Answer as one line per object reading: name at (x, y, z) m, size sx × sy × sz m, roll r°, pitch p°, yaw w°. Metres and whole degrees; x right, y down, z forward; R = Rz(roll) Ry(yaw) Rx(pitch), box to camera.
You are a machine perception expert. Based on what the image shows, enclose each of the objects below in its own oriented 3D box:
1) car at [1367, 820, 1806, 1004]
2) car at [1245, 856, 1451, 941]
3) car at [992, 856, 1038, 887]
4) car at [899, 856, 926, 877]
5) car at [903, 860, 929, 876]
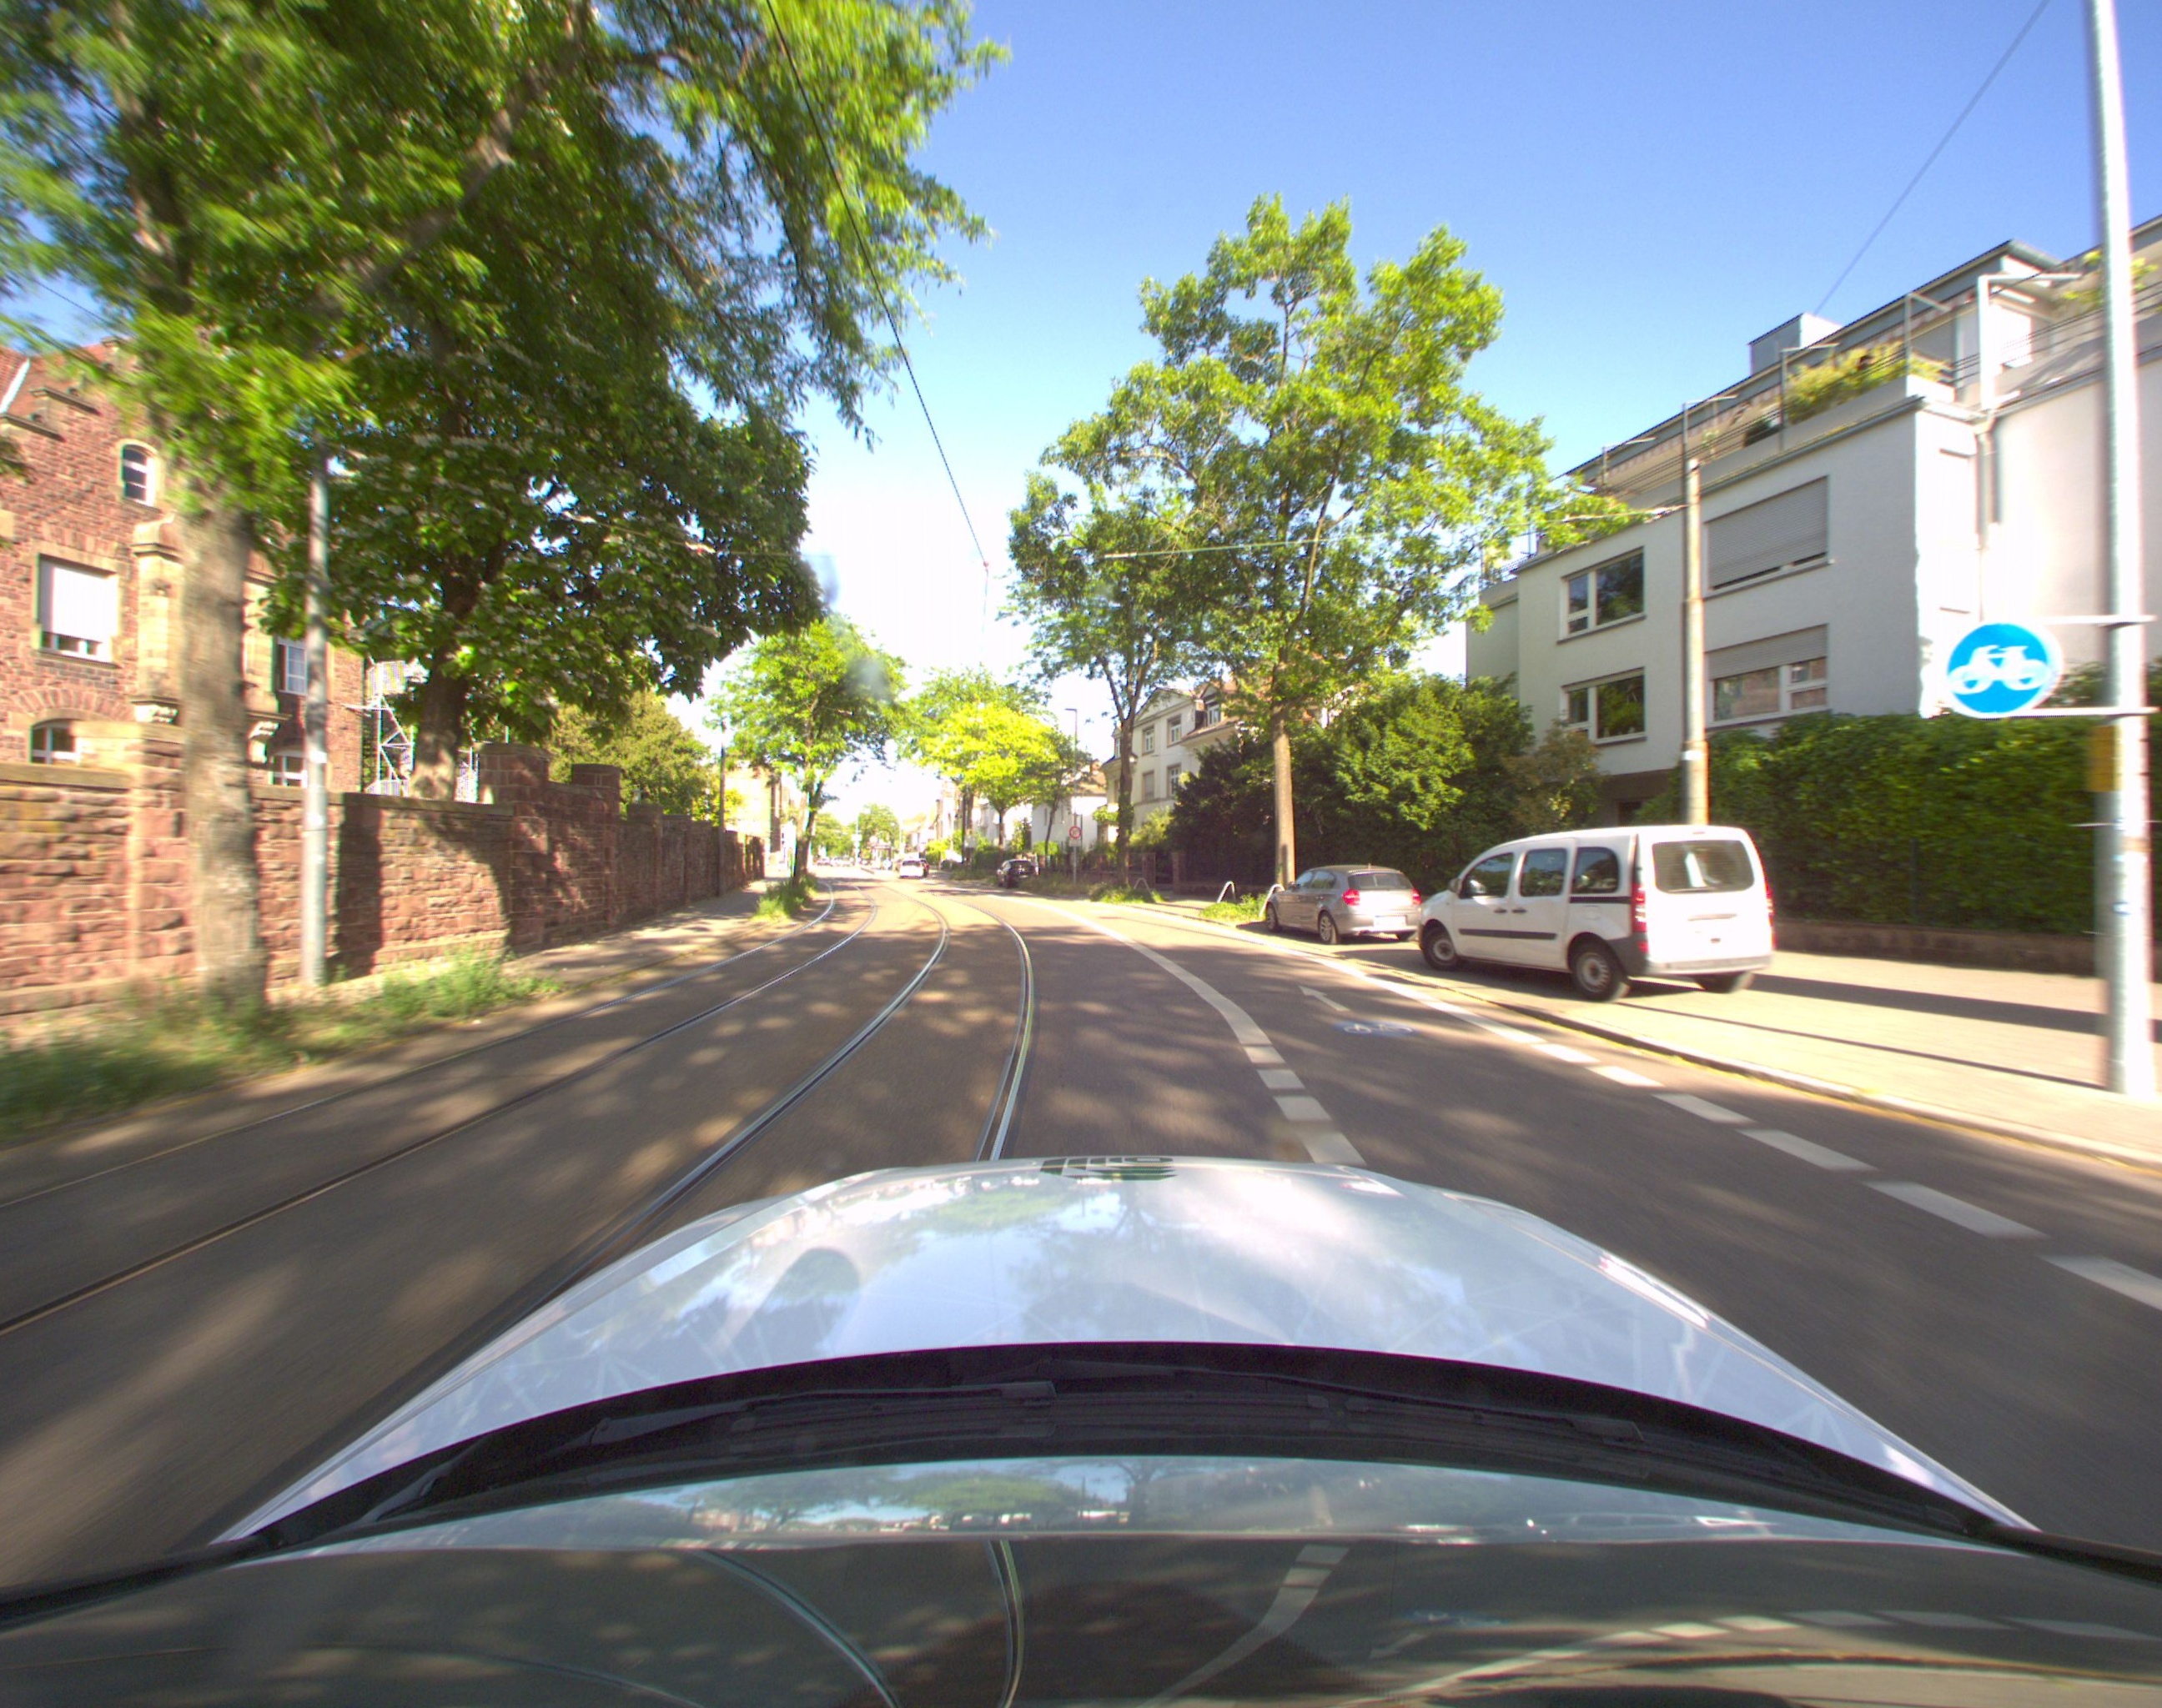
car at (5.825, 0.549, 10.289) m, size 2.024 × 1.747 × 4.732 m, roll 0°, pitch 0°, yaw -12°
car at (5.075, 0.793, 16.231) m, size 1.995 × 1.423 × 4.313 m, roll 0°, pitch -1°, yaw -12°
car at (-4.003, 1.006, 48.757) m, size 1.808 × 1.694 × 4.703 m, roll -3°, pitch 1°, yaw -16°
car at (-13.699, 1.039, 66.369) m, size 1.892 × 1.611 × 4.215 m, roll 0°, pitch -2°, yaw -9°
car at (-15.084, 1.278, 74.548) m, size 1.992 × 1.442 × 3.990 m, roll 0°, pitch 0°, yaw -7°
